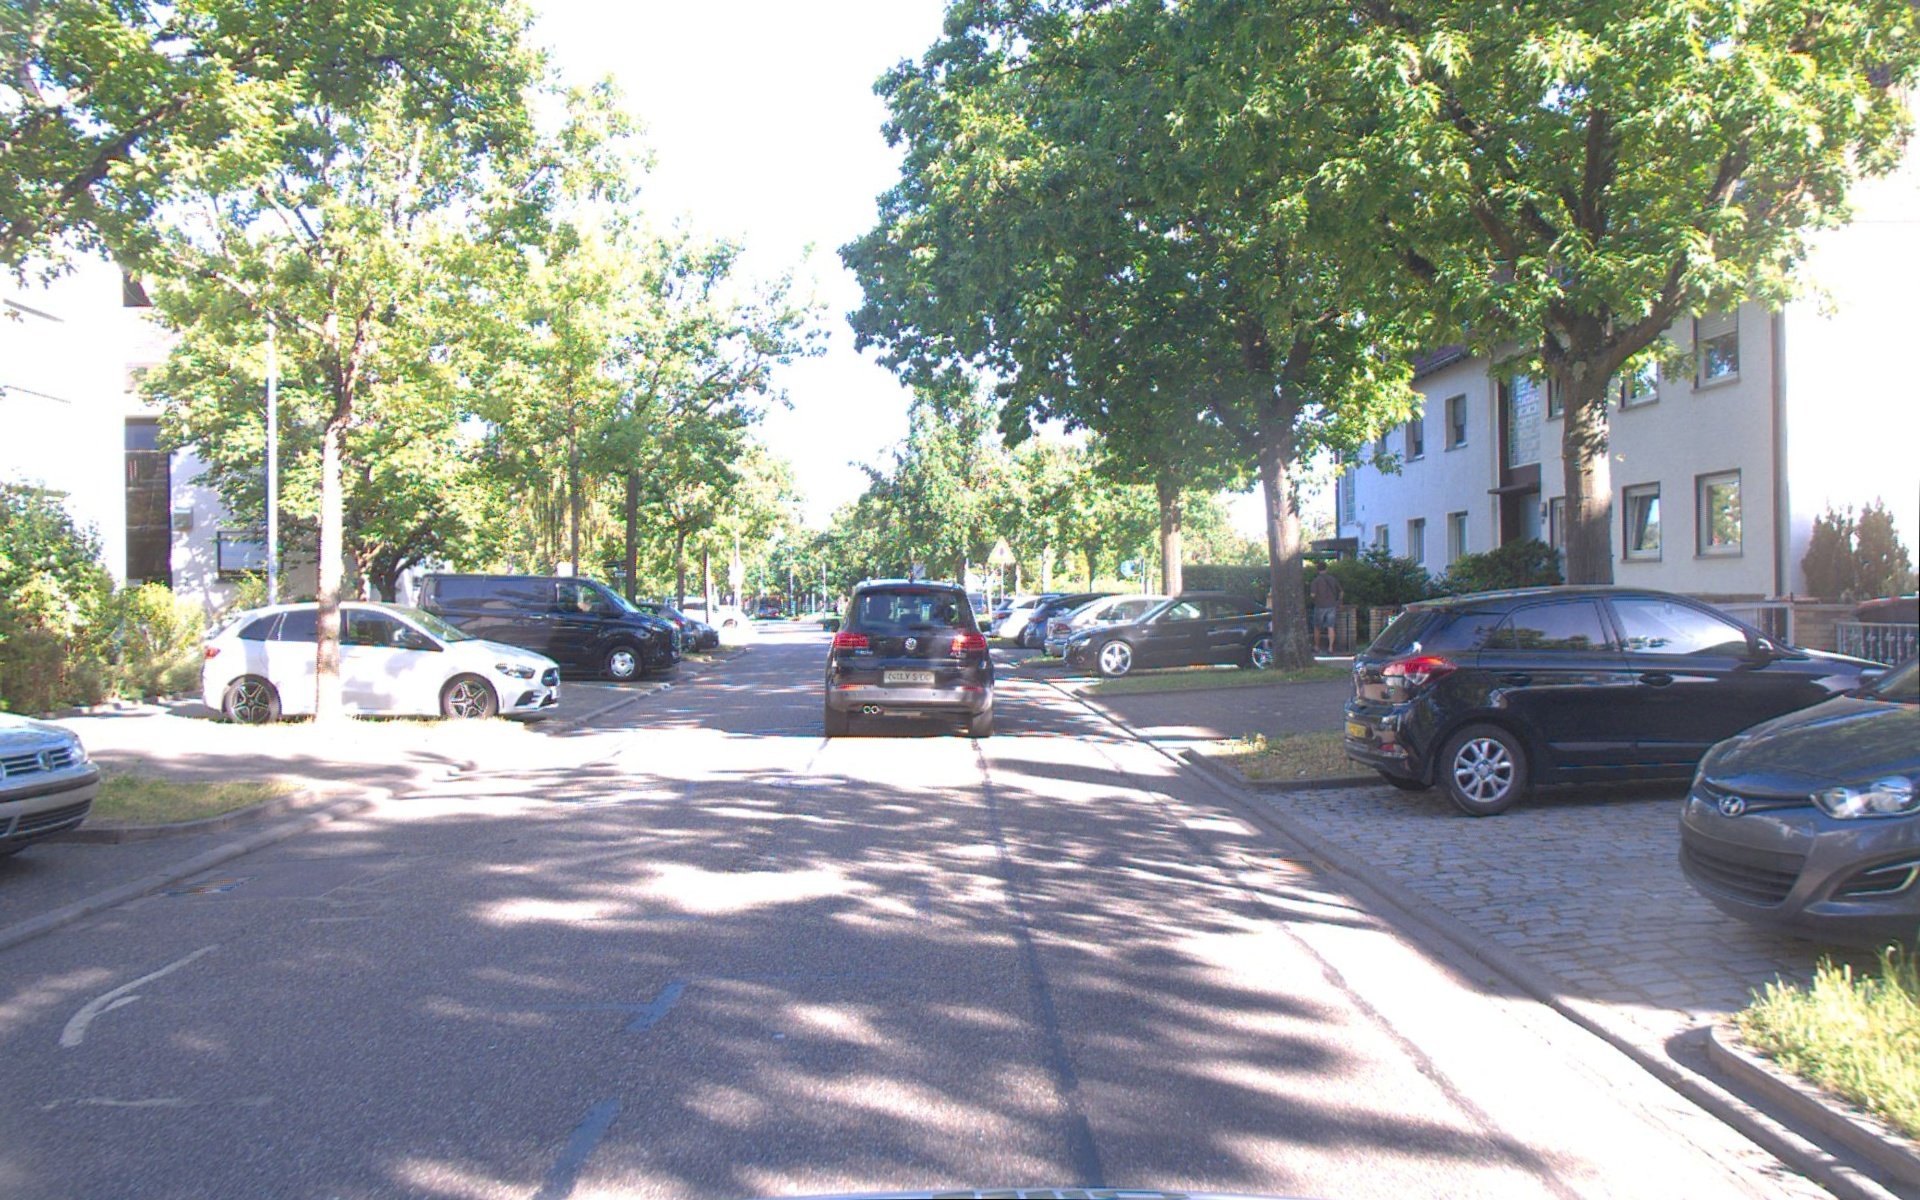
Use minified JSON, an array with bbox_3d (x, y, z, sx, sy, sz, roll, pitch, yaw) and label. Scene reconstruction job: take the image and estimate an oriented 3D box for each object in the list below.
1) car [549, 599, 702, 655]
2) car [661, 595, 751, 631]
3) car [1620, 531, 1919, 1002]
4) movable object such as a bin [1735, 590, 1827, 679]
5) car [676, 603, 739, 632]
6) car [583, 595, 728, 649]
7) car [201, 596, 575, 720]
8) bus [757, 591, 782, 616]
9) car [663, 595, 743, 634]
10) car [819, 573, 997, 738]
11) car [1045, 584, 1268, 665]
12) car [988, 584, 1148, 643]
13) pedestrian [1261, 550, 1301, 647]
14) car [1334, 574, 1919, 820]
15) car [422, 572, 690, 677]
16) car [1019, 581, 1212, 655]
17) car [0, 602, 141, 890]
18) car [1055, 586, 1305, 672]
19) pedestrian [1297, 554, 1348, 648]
[{"bbox_3d":[-8.777,0.690,43.629,3.743,1.444,1.771,0,0,-4],"label":"car"},{"bbox_3d":[-12.290,0.632,80.214,4.161,1.651,1.894,-1,-1,-7],"label":"car"},{"bbox_3d":[5.052,0.554,6.857,3.908,1.652,1.756,-1,-1,-4],"label":"car"},{"bbox_3d":[10.678,0.446,21.538,0.689,1.118,0.905,-1,-1,-3],"label":"movable object such as a bin"},{"bbox_3d":[-16.766,1.153,109.952,3.939,1.676,1.809,-2,1,-7],"label":"car"},{"bbox_3d":[-8.564,0.606,46.708,3.779,1.484,1.713,0,0,-2],"label":"car"},{"bbox_3d":[-7.265,0.713,21.307,4.189,1.504,1.768,0,0,-2],"label":"car"},{"bbox_3d":[-24.070,0.475,209.158,2.872,3.056,5.729,-1,-1,-6],"label":"bus"},{"bbox_3d":[-13.281,0.738,85.653,3.939,1.871,1.894,-2,1,-6],"label":"car"},{"bbox_3d":[-0.494,0.555,18.750,1.800,1.665,3.958,0,0,1],"label":"car"},{"bbox_3d":[3.884,0.469,33.113,4.190,1.439,1.796,-2,0,-2],"label":"car"},{"bbox_3d":[3.015,0.361,46.813,4.339,1.517,1.796,-2,0,-2],"label":"car"},{"bbox_3d":[6.433,-0.018,33.181,0.595,1.906,0.923,-1,-1,0],"label":"pedestrian"},{"bbox_3d":[4.768,0.642,11.765,3.803,1.542,1.660,-1,-1,-1],"label":"car"},{"bbox_3d":[-7.657,0.438,31.744,4.684,1.950,2.017,0,0,-4],"label":"car"},{"bbox_3d":[3.532,0.401,38.065,4.190,1.529,1.796,-2,0,-2],"label":"car"},{"bbox_3d":[-7.114,0.821,9.366,4.097,1.518,1.646,-1,-1,-1],"label":"car"},{"bbox_3d":[3.972,0.513,30.320,4.259,1.386,1.873,-2,0,-2],"label":"car"},{"bbox_3d":[7.333,0.023,33.484,0.818,1.860,0.710,-1,-1,0],"label":"pedestrian"}]
